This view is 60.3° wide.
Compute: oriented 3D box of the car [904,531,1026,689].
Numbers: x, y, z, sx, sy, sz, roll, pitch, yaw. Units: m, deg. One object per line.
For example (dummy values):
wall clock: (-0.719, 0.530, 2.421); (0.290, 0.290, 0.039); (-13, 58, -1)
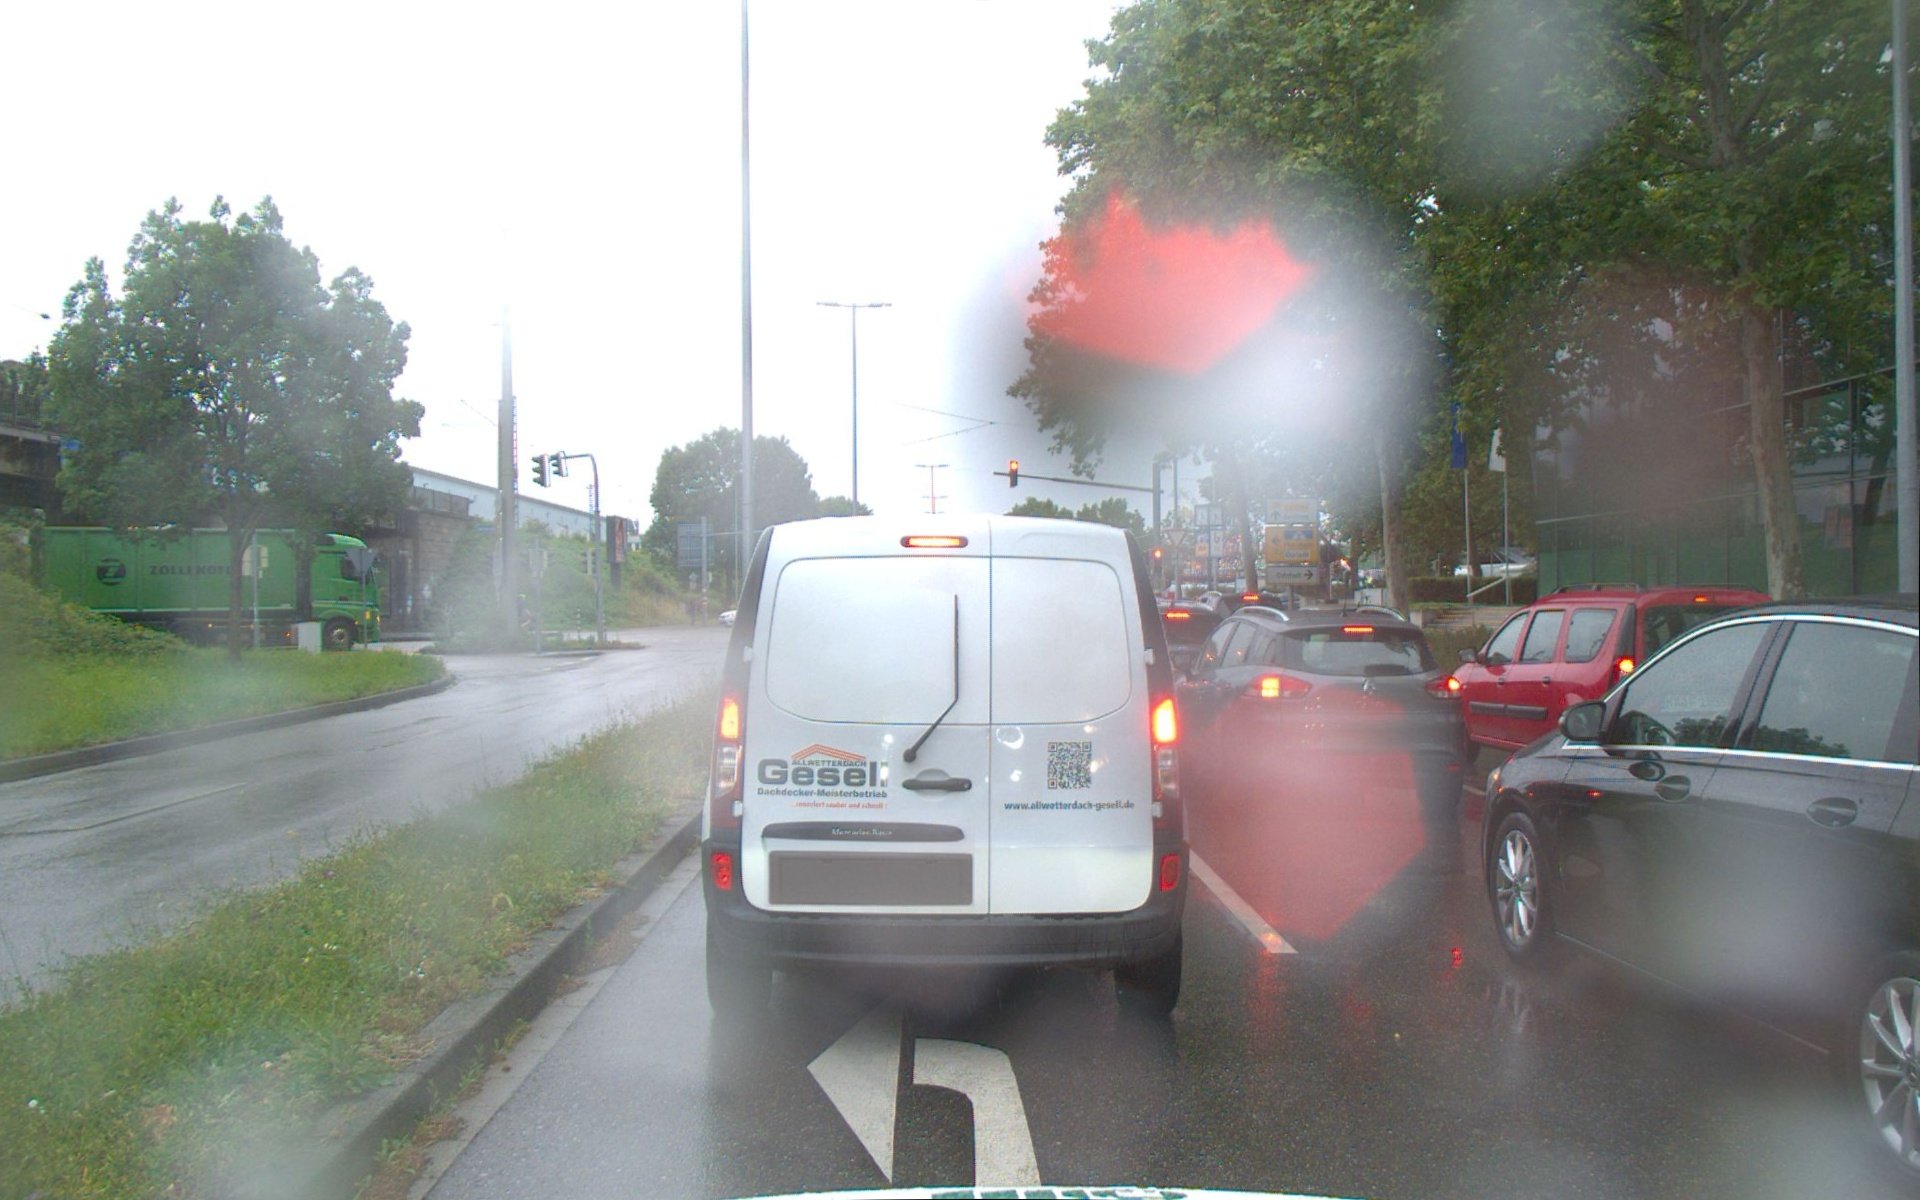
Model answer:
car: (0.046, 0.131, 26.430); (1.816, 2.336, 3.842); (0, 0, -1)

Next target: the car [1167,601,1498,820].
car: (2.766, 0.750, 13.118); (1.649, 1.433, 3.842); (1, 0, -2)

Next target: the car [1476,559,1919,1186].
car: (3.243, 0.688, 5.439); (1.712, 1.582, 4.089); (0, 0, -2)

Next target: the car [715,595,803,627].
car: (-10.601, 0.566, 87.331); (4.201, 1.624, 1.975); (-1, 0, -36)

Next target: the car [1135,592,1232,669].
car: (5.170, 0.683, 38.693); (1.674, 1.678, 3.842); (1, 0, -1)

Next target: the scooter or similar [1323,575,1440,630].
scooter or similar: (19.671, 0.108, 77.351); (1.878, 2.489, 5.239); (0, 0, -41)

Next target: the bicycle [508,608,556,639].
bicycle: (-14.337, 0.762, 55.343); (1.027, 0.968, 2.866); (-1, 1, -25)

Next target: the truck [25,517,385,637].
truck: (-23.187, -0.679, 51.293); (9.956, 3.430, 2.316); (0, 0, -37)

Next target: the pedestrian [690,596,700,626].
pedestrian: (-15.358, 0.628, 95.909); (0.532, 1.746, 0.563); (1, -1, -5)

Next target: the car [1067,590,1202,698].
car: (2.872, 0.681, 27.885); (1.816, 1.678, 3.842); (0, 0, -1)

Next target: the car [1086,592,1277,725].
car: (2.660, 0.654, 20.655); (1.816, 1.486, 3.842); (0, 0, -1)

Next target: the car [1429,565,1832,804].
car: (5.513, 0.639, 14.230); (1.676, 1.724, 4.271); (1, -1, -1)

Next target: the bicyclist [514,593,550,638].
bicyclist: (-14.314, 0.513, 55.291); (1.028, 1.475, 0.723); (-1, 1, -26)

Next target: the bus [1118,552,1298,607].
bus: (16.600, -1.384, 111.143); (11.727, 3.483, 2.315); (-1, 1, -1)

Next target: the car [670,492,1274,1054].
car: (0.010, 0.539, 7.634); (1.953, 1.807, 4.584); (0, 0, -1)

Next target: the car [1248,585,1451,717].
car: (5.391, 0.642, 23.413); (1.838, 1.641, 3.999); (2, 1, -1)

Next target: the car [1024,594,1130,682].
car: (2.307, 0.733, 33.539); (1.816, 1.678, 3.842); (0, 0, -1)
